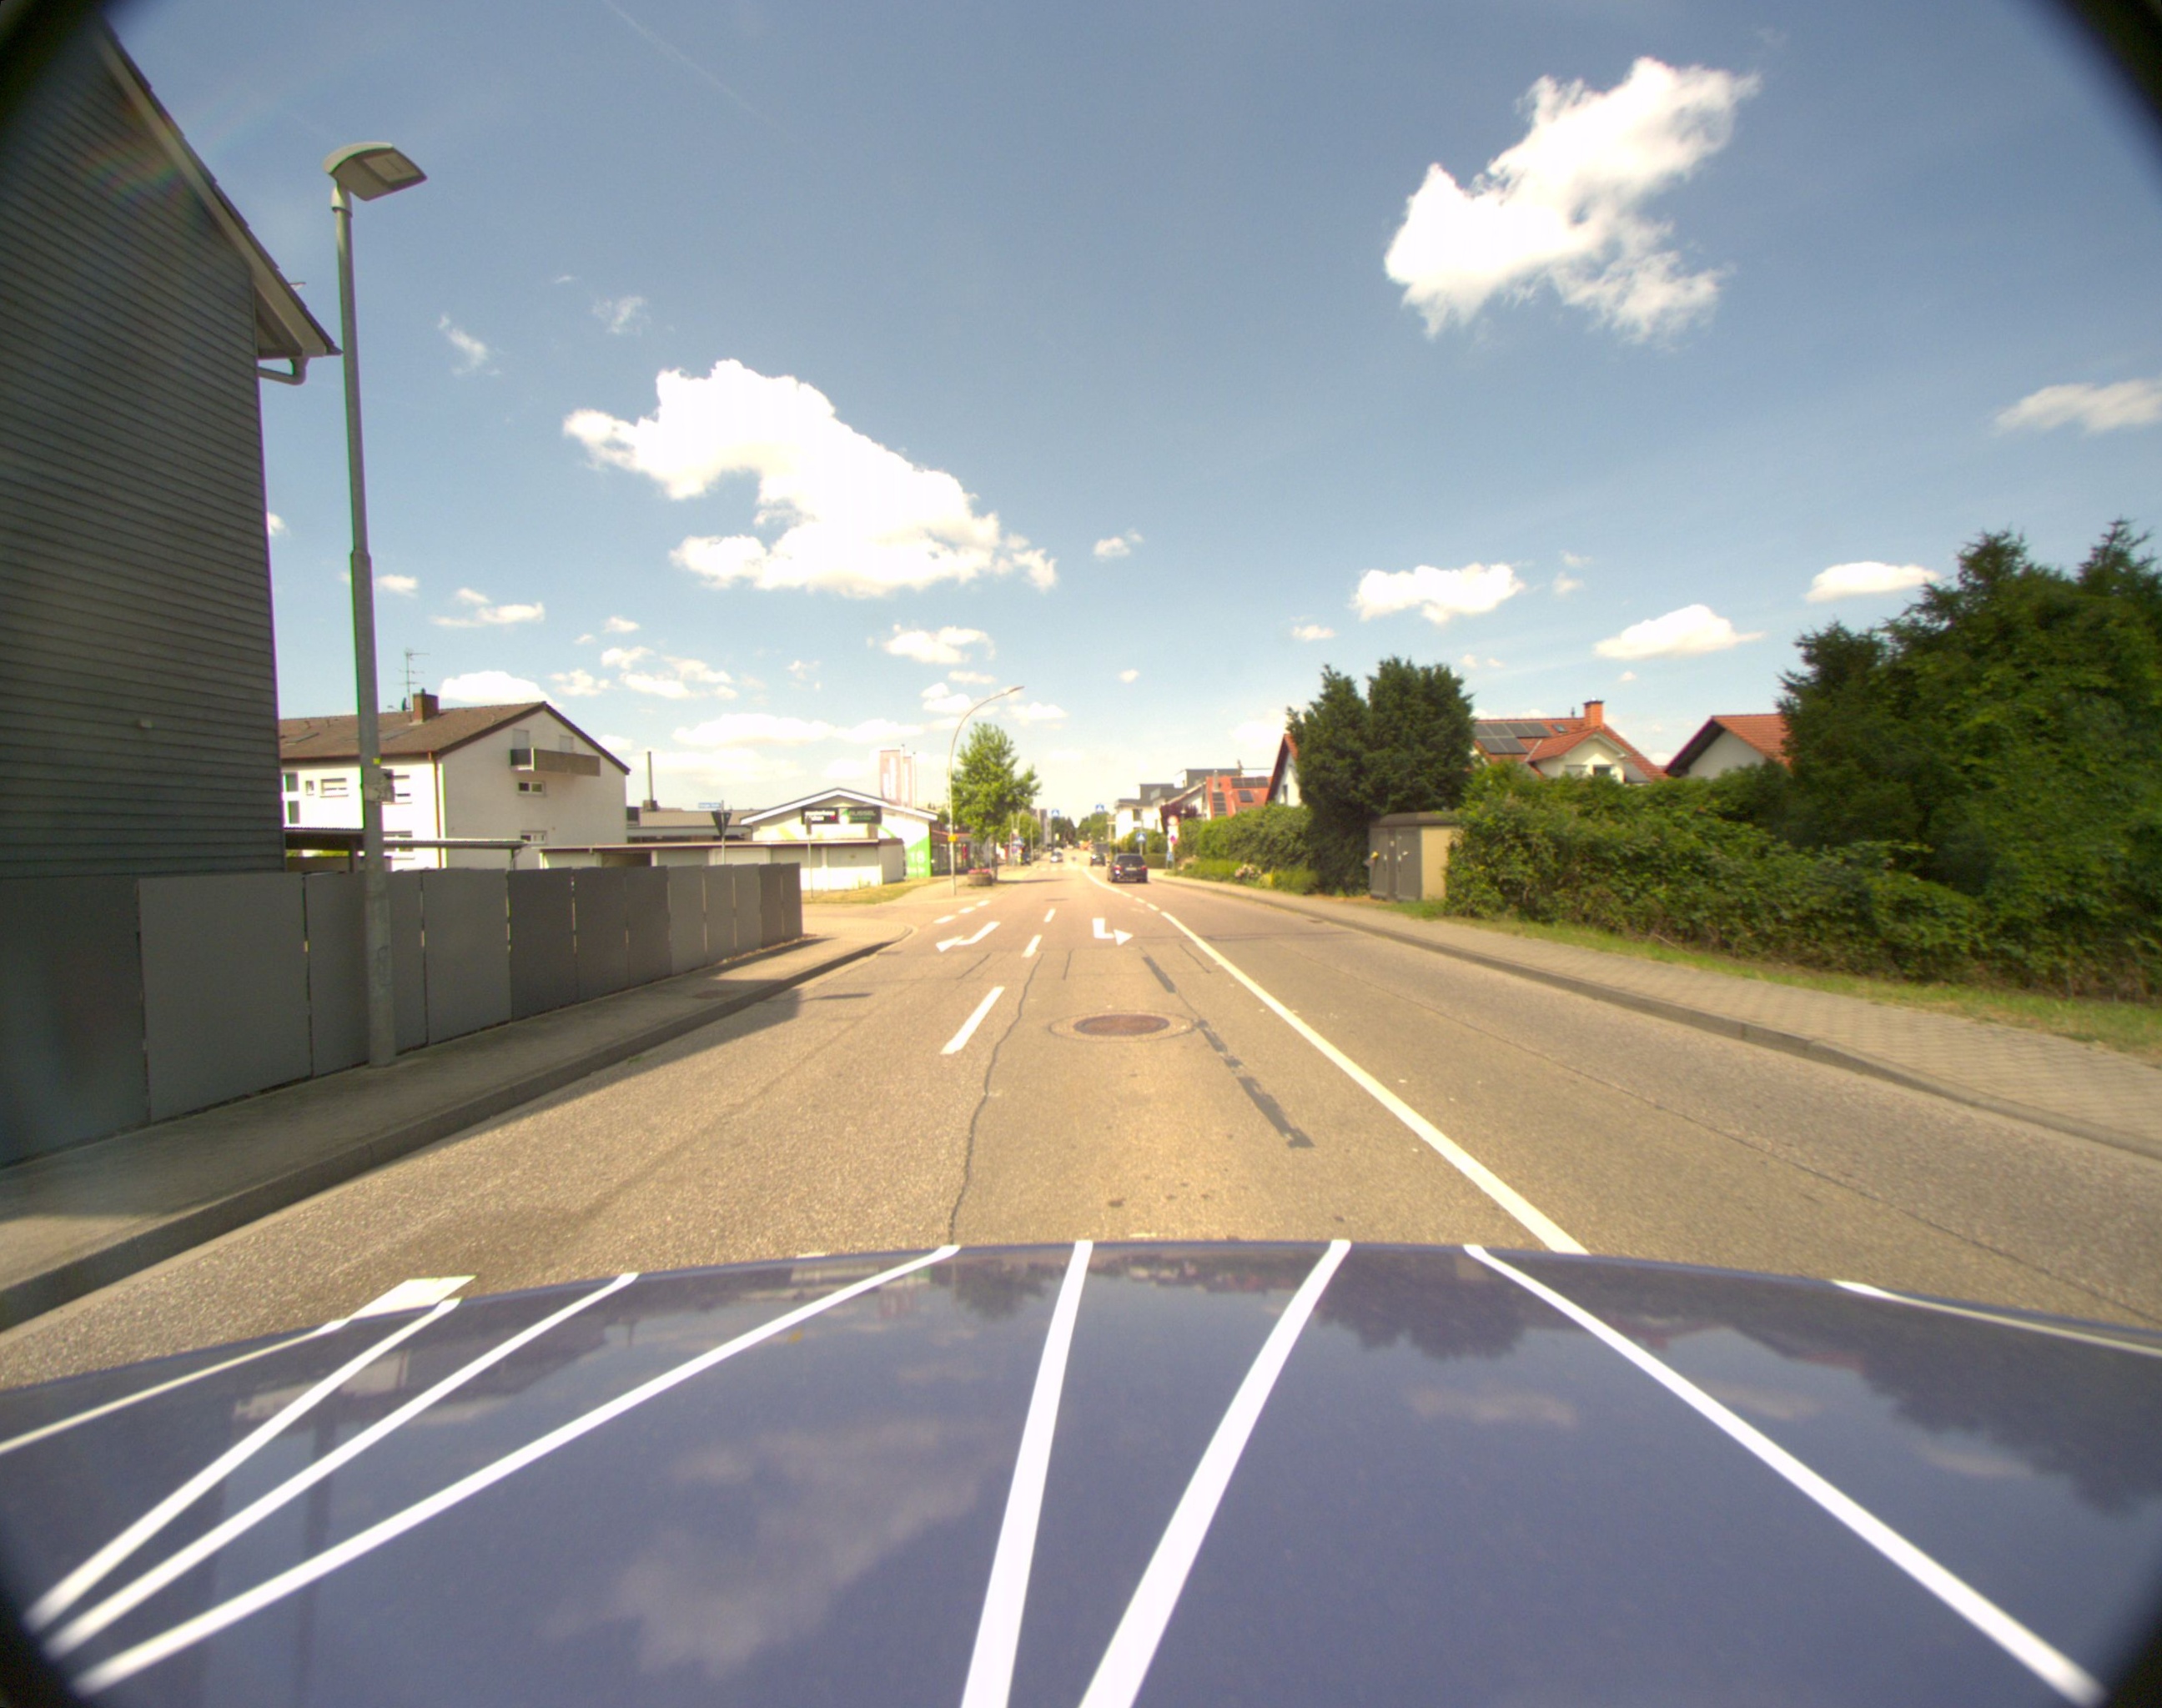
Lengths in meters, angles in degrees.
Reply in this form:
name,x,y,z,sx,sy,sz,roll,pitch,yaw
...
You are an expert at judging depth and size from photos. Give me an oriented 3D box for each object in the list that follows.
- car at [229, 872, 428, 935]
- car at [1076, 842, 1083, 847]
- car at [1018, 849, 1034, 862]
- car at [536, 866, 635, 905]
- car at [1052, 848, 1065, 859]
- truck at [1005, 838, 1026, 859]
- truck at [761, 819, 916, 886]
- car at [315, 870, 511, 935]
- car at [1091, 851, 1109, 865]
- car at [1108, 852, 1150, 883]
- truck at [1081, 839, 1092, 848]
name,x,y,z,sx,sy,sz,roll,pitch,yaw
car,-21.046,1.330,21.512,1.741,1.577,3.854,-1,-1,2
car,-0.426,-3.034,238.971,1.798,1.480,3.614,0,1,3
car,-6.533,0.176,89.871,1.729,1.484,3.758,0,1,-2
car,-22.232,1.376,34.302,1.679,1.494,4.131,-2,1,0
car,-3.169,-0.139,105.939,1.729,1.484,3.759,0,1,-1
truck,-9.105,-0.784,104.785,2.580,2.746,6.329,0,1,-7
truck,-14.306,-0.127,45.300,8.192,3.553,2.676,-2,2,-2
car,-18.565,1.281,21.421,1.741,1.638,4.217,-1,-1,2
car,2.027,0.366,80.392,1.785,1.425,3.871,0,0,-1
car,2.395,0.646,39.040,1.868,1.434,4.670,0,1,0
truck,1.804,-3.526,253.381,2.863,2.695,6.793,0,1,5
